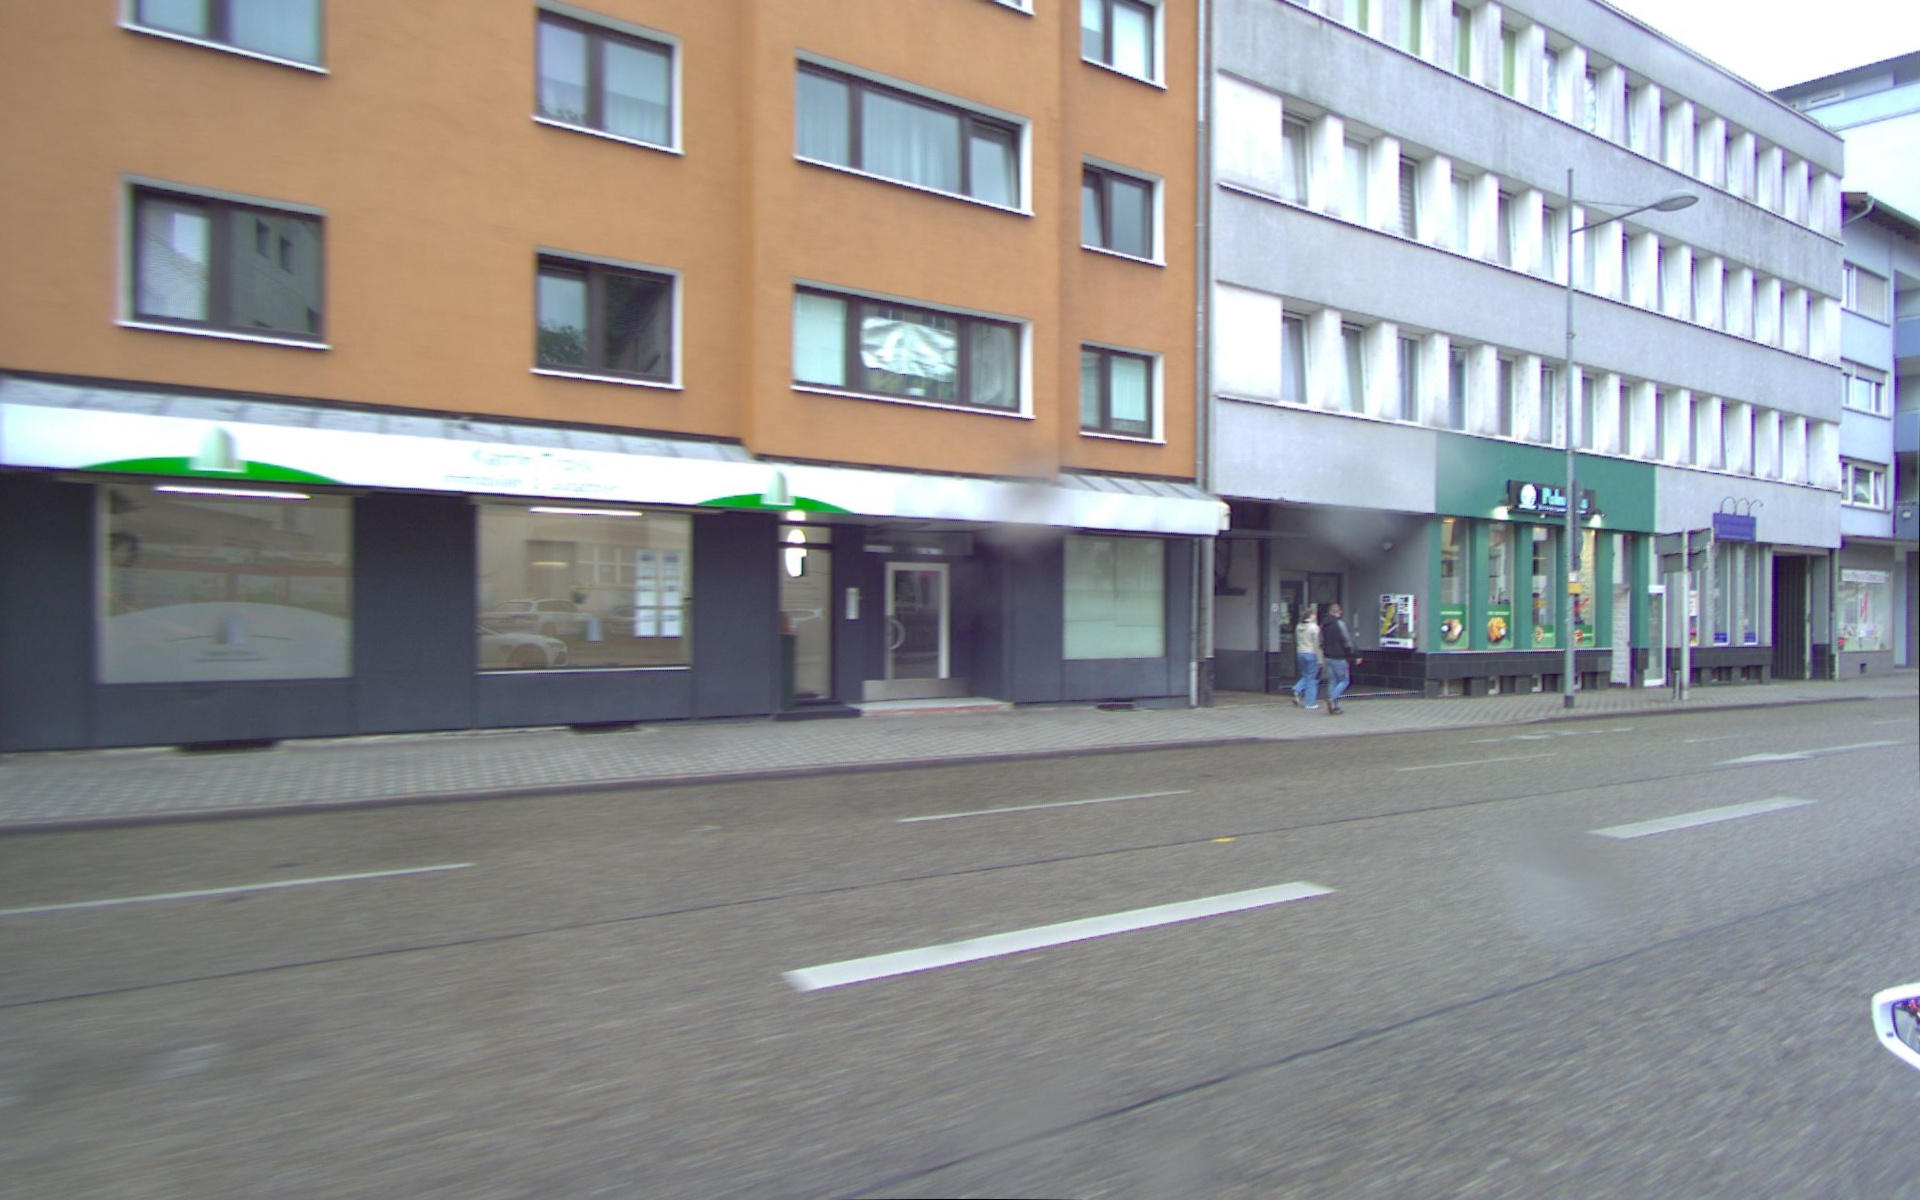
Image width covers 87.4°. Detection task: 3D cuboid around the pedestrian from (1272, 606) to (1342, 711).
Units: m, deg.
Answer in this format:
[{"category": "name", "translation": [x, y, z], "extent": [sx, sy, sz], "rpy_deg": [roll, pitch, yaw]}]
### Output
[{"category": "pedestrian", "translation": [5.906, 0.976, 17.113], "extent": [0.897, 1.698, 0.627], "rpy_deg": [1, 3, -30]}]

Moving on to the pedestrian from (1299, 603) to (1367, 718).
[{"category": "pedestrian", "translation": [6.126, 0.982, 16.499], "extent": [0.816, 1.813, 0.572], "rpy_deg": [1, 3, -29]}]
